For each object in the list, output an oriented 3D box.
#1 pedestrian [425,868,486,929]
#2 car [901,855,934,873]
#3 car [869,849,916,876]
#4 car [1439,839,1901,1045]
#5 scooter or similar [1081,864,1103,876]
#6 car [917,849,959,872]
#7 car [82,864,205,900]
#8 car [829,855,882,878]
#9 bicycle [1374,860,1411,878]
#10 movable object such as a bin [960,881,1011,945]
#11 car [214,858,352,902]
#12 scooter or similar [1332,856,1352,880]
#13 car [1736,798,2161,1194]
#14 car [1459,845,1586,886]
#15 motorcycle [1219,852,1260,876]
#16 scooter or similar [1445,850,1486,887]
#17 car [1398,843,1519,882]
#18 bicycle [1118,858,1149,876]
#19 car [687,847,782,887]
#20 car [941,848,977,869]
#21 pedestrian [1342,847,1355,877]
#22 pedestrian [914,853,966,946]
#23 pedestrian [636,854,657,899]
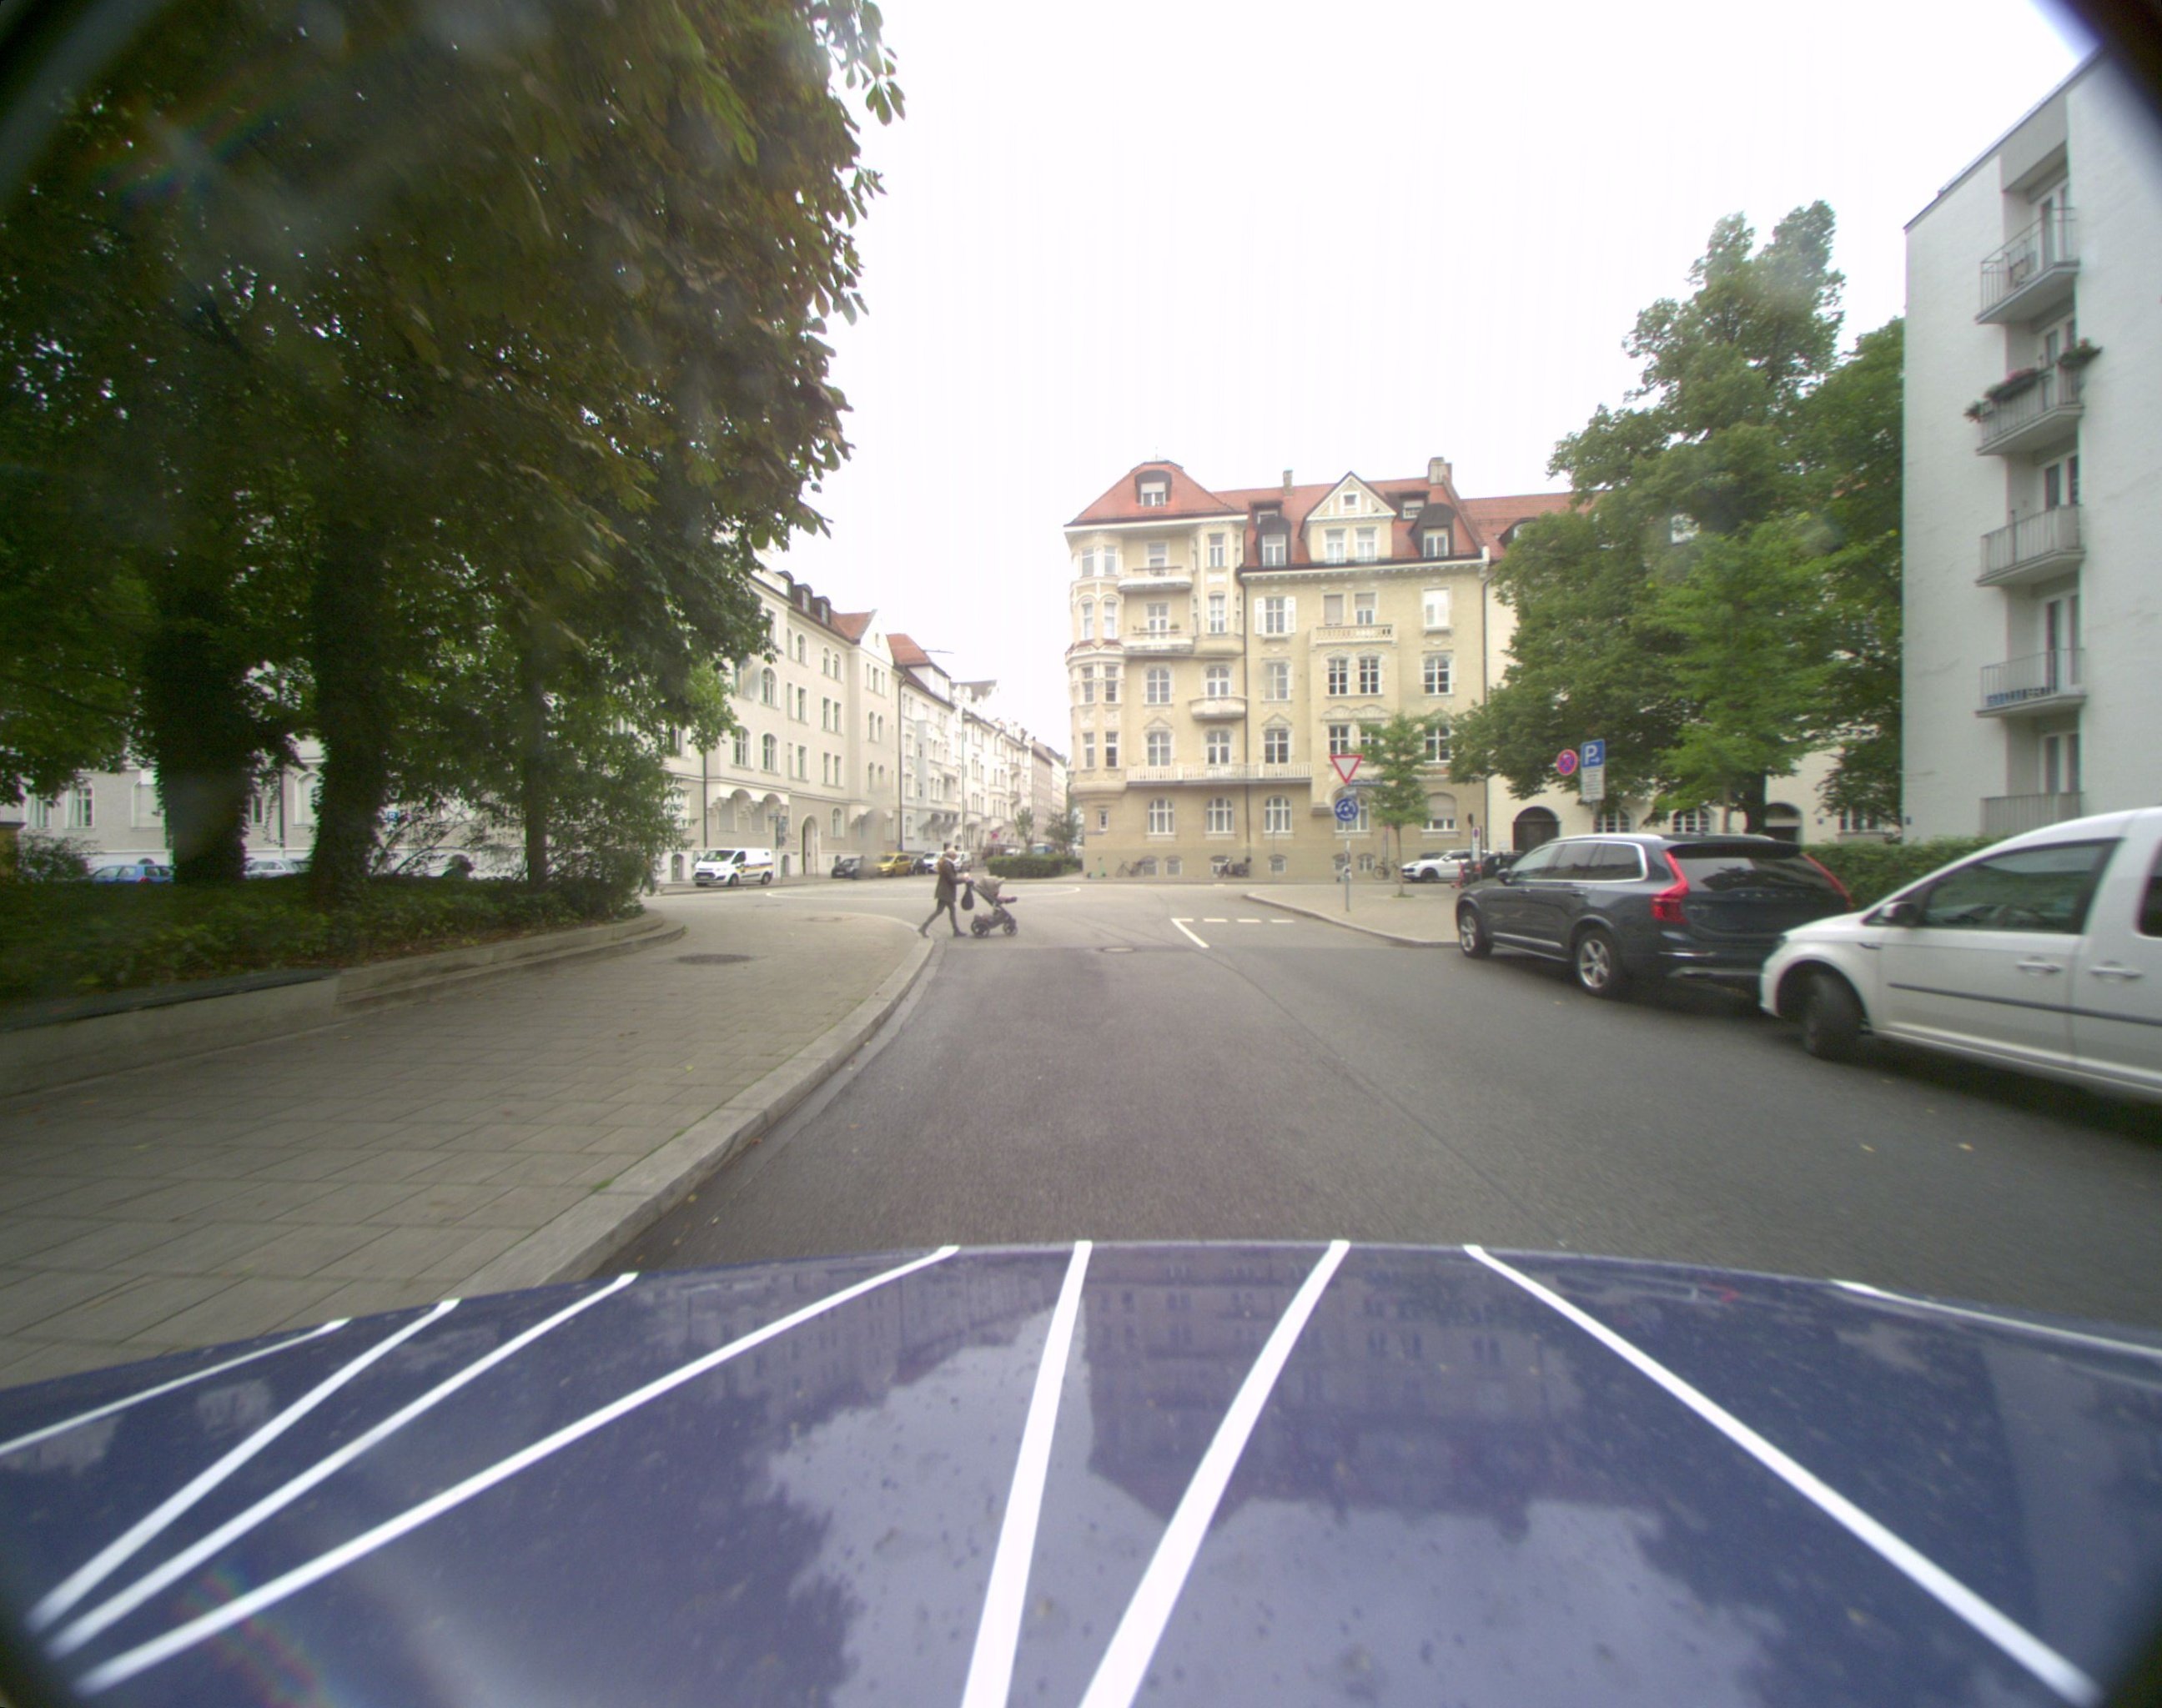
[{"bbox_3d":[-12.539,0.879,15.243,0.577,1.170,0.746,0,0,11],"label":"pedestrian"},{"bbox_3d":[-13.344,0.818,62.269,1.440,1.351,3.360,0,2,11],"label":"car"},{"bbox_3d":[-14.078,0.597,57.030,1.793,1.809,4.306,0,2,11],"label":"car"},{"bbox_3d":[6.283,0.721,9.132,1.884,1.758,5.059,0,1,4],"label":"car"},{"bbox_3d":[0.664,0.930,44.831,1.235,0.683,0.316,-1,2,-20],"label":"scooter or similar"},{"bbox_3d":[-12.718,0.507,67.914,2.156,1.902,4.775,0,2,9],"label":"car"},{"bbox_3d":[-38.214,1.128,31.019,3.292,1.325,1.702,0,2,9],"label":"car"},{"bbox_3d":[-15.247,0.838,51.559,1.948,1.412,3.822,0,2,11],"label":"car"},{"bbox_3d":[16.620,0.795,40.572,1.808,0.952,0.468,0,2,11],"label":"bicycle"},{"bbox_3d":[-1.739,1.053,13.901,0.900,1.078,0.777,-1,2,-6],"label":"movable object such as a bin"},{"bbox_3d":[-30.797,0.981,29.370,3.993,1.574,1.739,0,2,11],"label":"car"},{"bbox_3d":[13.541,0.710,39.432,1.281,1.223,0.408,-2,2,-42],"label":"scooter or similar"},{"bbox_3d":[6.208,0.697,3.823,1.884,1.926,4.834,1,0,4],"label":"car"},{"bbox_3d":[17.465,0.432,30.221,4.096,1.580,1.592,0,0,3],"label":"car"},{"bbox_3d":[9.114,0.571,43.672,2.243,1.319,0.824,0,2,6],"label":"motorcycle"},{"bbox_3d":[14.646,0.545,28.946,0.804,1.379,1.102,-2,-1,-31],"label":"scooter or similar"},{"bbox_3d":[18.877,0.401,38.255,5.023,1.855,2.167,0,2,8],"label":"car"},{"bbox_3d":[3.098,0.767,44.746,1.783,0.986,0.543,0,2,5],"label":"bicycle"},{"bbox_3d":[-17.712,0.620,39.143,1.948,1.923,4.977,0,1,11],"label":"car"},{"bbox_3d":[-11.839,0.384,73.993,2.051,1.928,4.578,0,2,9],"label":"car"},{"bbox_3d":[14.939,0.428,42.463,0.606,1.655,0.463,0,2,13],"label":"pedestrian"},{"bbox_3d":[-2.529,0.807,13.723,0.863,1.610,0.593,-1,2,-6],"label":"pedestrian"},{"bbox_3d":[-17.516,0.903,30.654,0.404,1.758,0.571,0,1,18],"label":"pedestrian"}]
